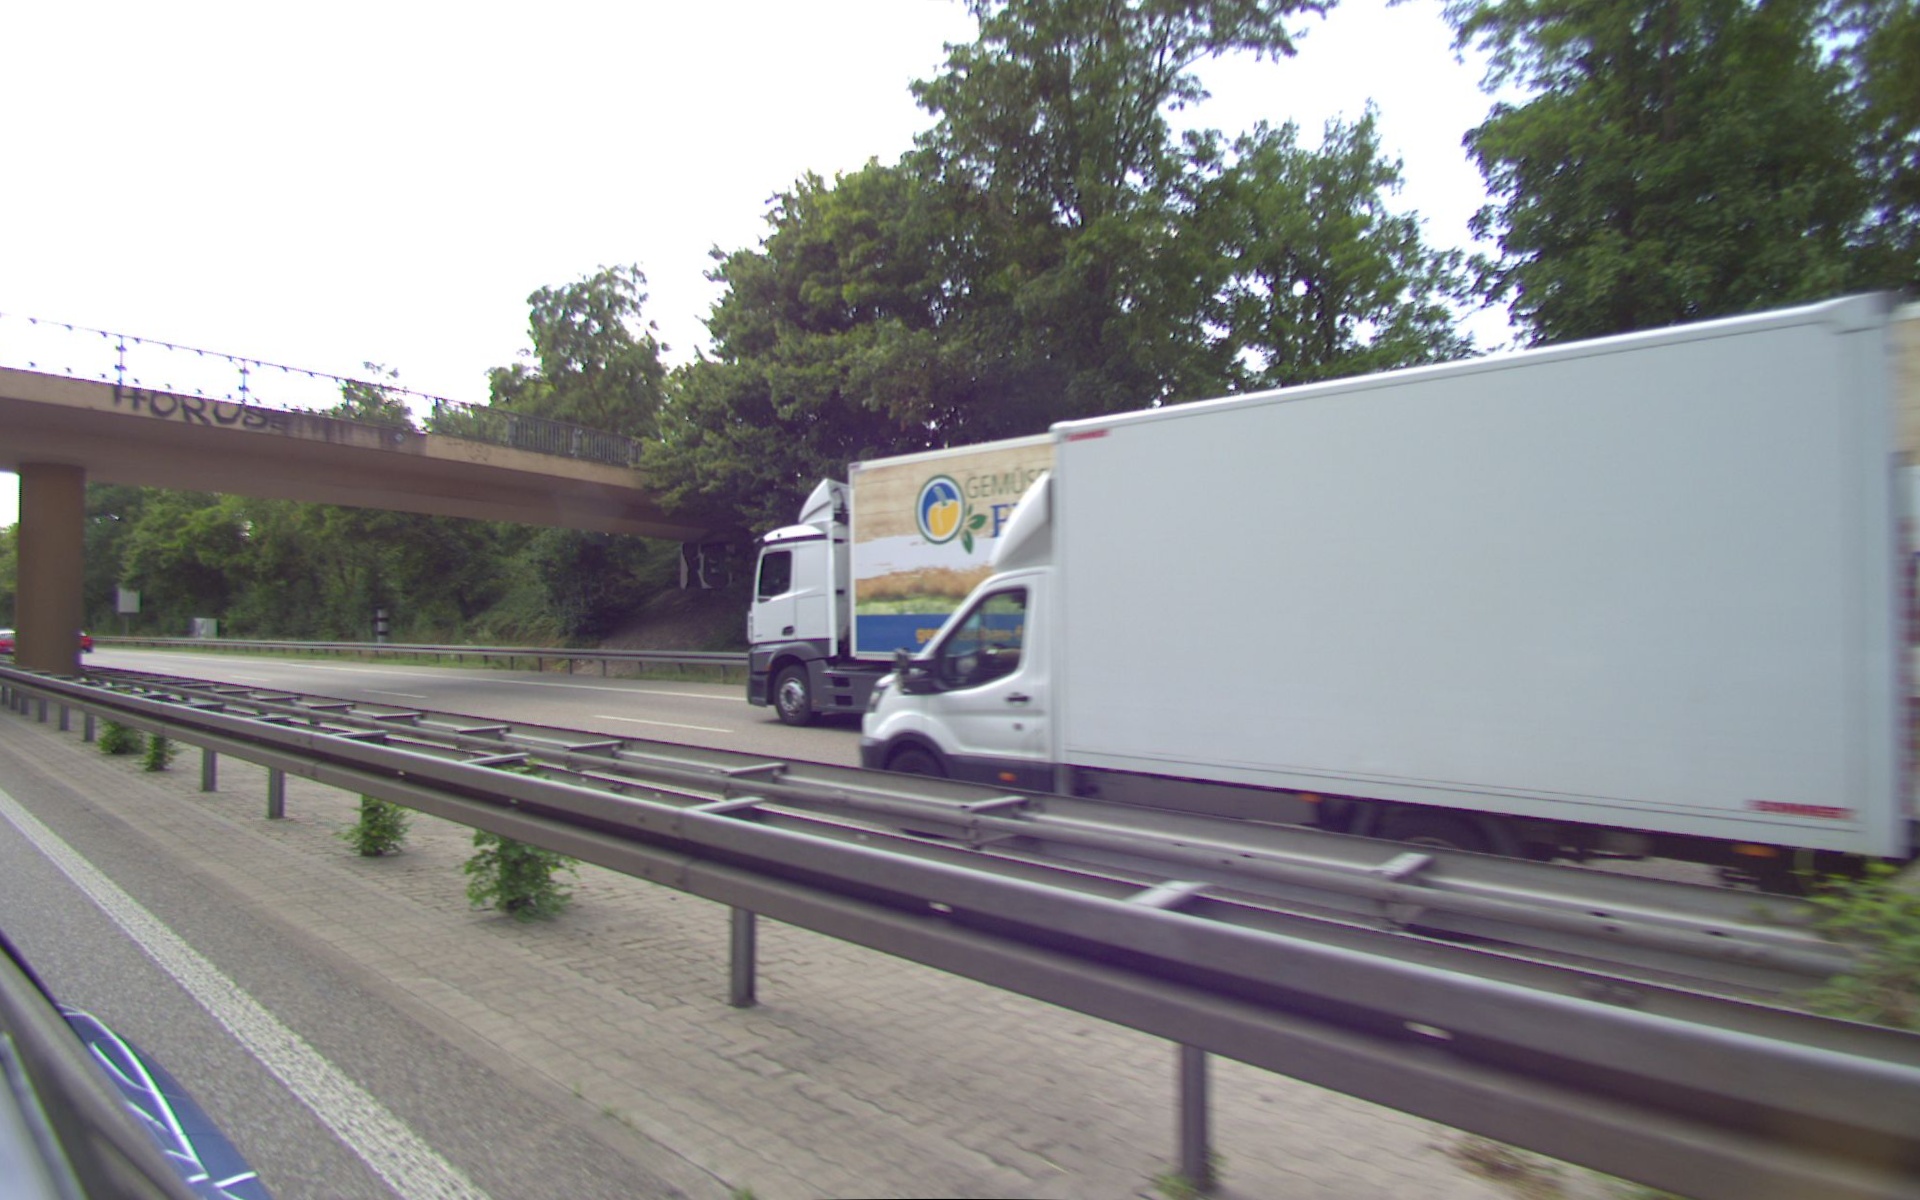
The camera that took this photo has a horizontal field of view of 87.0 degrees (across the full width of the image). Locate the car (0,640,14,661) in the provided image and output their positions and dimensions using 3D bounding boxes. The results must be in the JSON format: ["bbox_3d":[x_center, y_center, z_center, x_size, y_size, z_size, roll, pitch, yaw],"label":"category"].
[{"bbox_3d":[-69.493,3.587,72.564,4.801,1.467,1.845,-2,-2,40],"label":"car"}]

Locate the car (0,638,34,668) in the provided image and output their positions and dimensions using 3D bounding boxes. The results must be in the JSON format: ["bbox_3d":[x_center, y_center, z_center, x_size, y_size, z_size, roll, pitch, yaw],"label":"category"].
[{"bbox_3d":[-49.370,2.734,52.277,4.433,1.488,1.668,-2,-2,40],"label":"car"}]

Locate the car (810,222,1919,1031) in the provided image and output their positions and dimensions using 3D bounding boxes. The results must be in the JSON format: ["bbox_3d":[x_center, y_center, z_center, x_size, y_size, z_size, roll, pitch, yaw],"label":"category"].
[{"bbox_3d":[2.176,0.194,7.103,7.283,3.257,2.264,-2,-2,42],"label":"car"}]

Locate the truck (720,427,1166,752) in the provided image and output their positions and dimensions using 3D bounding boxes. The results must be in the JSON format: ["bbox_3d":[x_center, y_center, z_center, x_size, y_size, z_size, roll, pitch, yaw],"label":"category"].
[{"bbox_3d":[-0.521,-0.029,15.860,6.746,4.017,3.008,-2,-3,42],"label":"truck"}]

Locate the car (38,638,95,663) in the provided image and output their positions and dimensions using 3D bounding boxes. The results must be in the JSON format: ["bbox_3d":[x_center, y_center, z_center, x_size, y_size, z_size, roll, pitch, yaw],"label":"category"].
[{"bbox_3d":[-54.032,3.025,61.151,4.801,1.389,1.845,-2,-2,40],"label":"car"}]

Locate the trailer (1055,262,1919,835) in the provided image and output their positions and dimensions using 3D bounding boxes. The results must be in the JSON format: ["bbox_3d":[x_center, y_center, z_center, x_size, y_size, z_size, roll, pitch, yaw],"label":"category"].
[{"bbox_3d":[5.858,-0.277,10.115,9.972,4.073,3.026,-2,-3,42],"label":"trailer"}]
